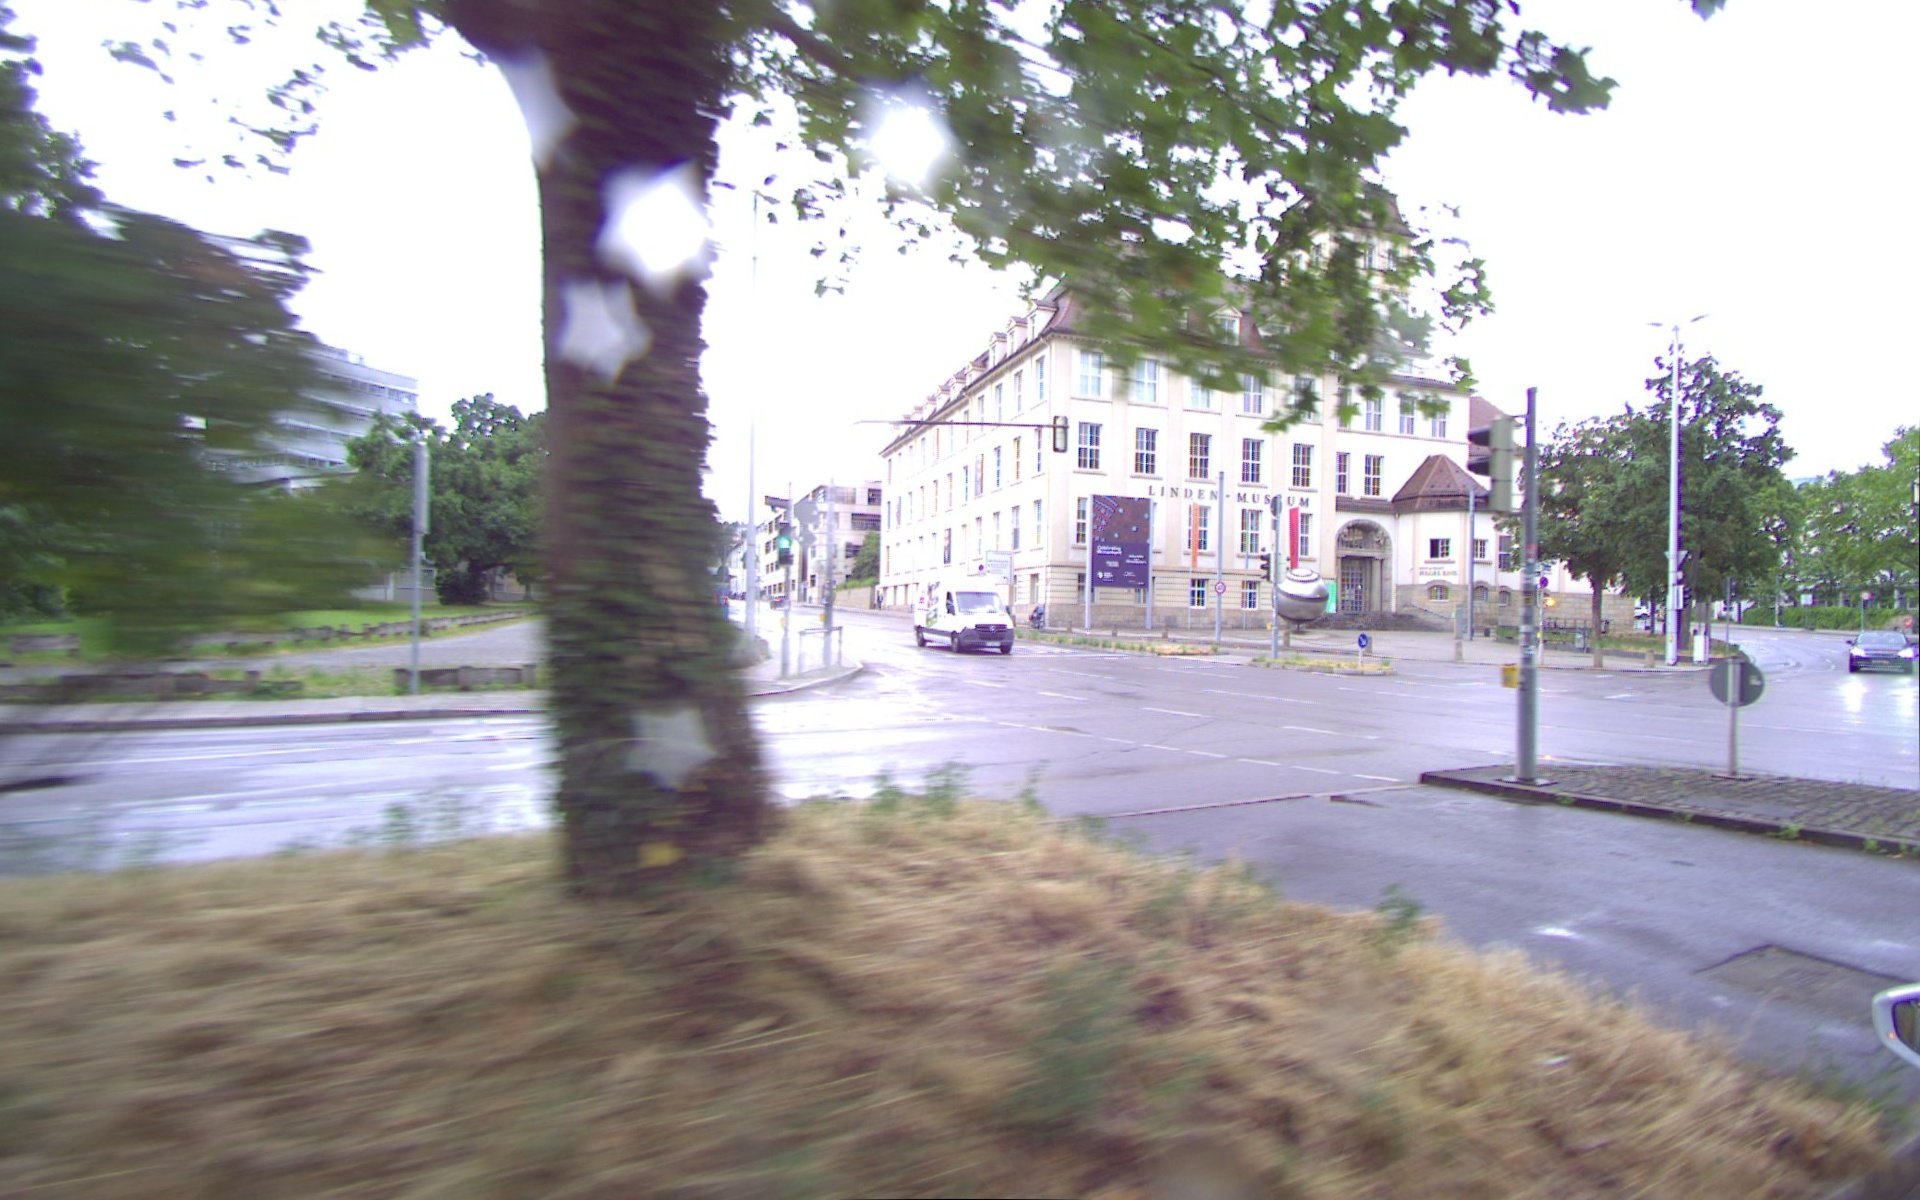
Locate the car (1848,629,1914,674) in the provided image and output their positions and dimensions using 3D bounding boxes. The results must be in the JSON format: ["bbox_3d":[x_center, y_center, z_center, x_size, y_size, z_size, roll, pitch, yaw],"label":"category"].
[{"bbox_3d":[36.204,1.988,39.508,1.848,1.585,4.251,0,-1,43],"label":"car"}]

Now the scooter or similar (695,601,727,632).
[{"bbox_3d":[-9.667,0.643,38.957,0.541,1.182,1.253,3,0,20],"label":"scooter or similar"}]

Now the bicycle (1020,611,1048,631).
[{"bbox_3d":[4.262,1.227,58.221,0.641,1.070,1.804,2,-1,-33],"label":"bicycle"}]

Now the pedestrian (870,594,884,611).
[{"bbox_3d":[-8.868,0.239,107.249,1.223,1.812,1.590,0,1,-15],"label":"pedestrian"}]

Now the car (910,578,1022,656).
[{"bbox_3d":[0.074,0.533,35.695,2.034,2.527,6.010,0,0,-20],"label":"car"}]

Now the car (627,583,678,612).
[{"bbox_3d":[-20.256,-0.149,66.053,1.838,1.765,4.029,2,-1,-39],"label":"car"}]

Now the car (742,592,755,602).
[{"bbox_3d":[-38.830,-0.529,184.395,1.815,1.580,3.985,3,1,-17],"label":"car"}]

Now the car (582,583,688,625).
[{"bbox_3d":[-14.592,0.173,45.126,4.420,1.791,1.833,1,-1,24],"label":"car"}]

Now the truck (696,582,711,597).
[{"bbox_3d":[-63.261,-2.627,247.489,3.125,3.425,6.478,3,0,-17],"label":"truck"}]

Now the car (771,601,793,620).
[{"bbox_3d":[-18.258,1.055,103.046,1.867,1.647,3.635,3,1,-14],"label":"car"}]

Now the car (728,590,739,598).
[{"bbox_3d":[-48.647,-1.325,215.757,1.815,1.580,3.985,3,1,-17],"label":"car"}]

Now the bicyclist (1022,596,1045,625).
[{"bbox_3d":[4.261,0.610,58.277,0.695,1.654,1.118,3,0,-33],"label":"bicyclist"}]

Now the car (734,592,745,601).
[{"bbox_3d":[-43.788,-0.746,199.629,1.815,1.580,3.985,3,1,-17],"label":"car"}]
